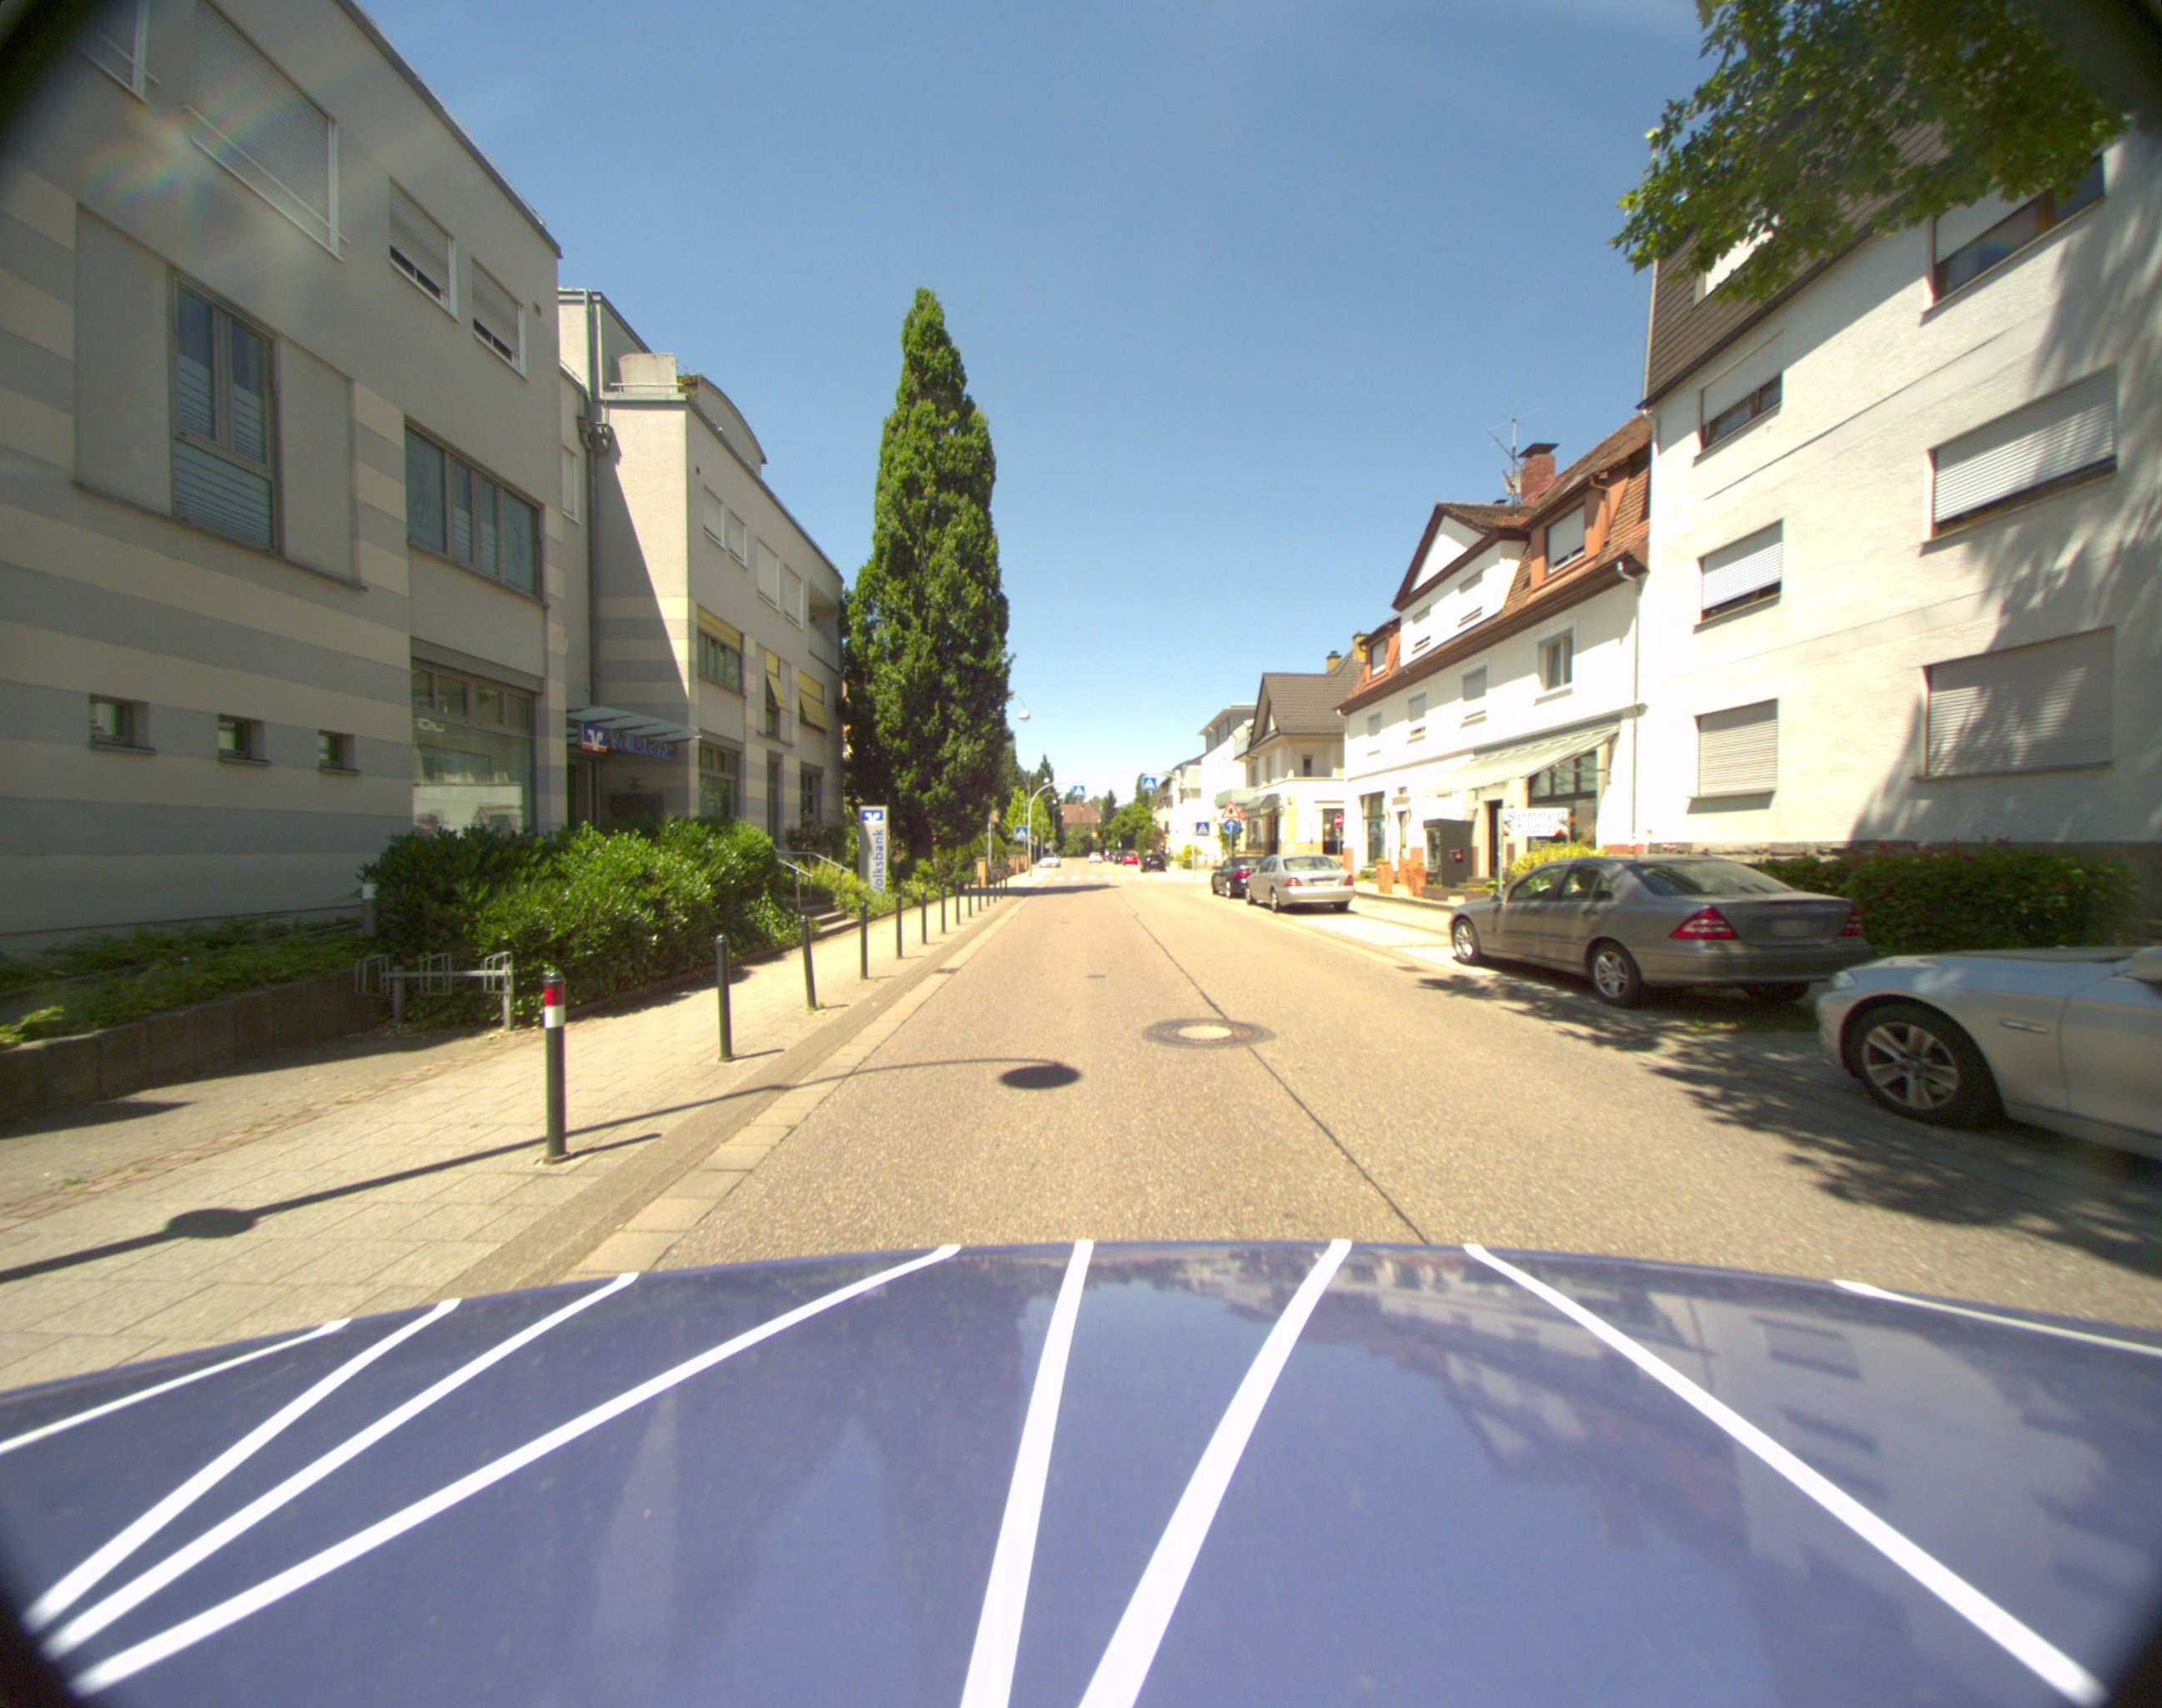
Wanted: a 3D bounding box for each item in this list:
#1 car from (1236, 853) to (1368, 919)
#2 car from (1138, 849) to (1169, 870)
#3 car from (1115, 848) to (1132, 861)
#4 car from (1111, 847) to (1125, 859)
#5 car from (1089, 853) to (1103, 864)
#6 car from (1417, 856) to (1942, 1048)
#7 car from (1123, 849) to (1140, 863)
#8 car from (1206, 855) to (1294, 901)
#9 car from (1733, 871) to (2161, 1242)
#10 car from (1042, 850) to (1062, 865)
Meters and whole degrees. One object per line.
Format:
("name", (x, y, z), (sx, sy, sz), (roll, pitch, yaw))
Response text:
("car", (5.661, 0.739, 20.240), (1.986, 1.444, 5.357), (-1, 0, 1))
("car", (5.696, 0.415, 60.040), (1.921, 1.444, 5.148), (-3, 1, 1))
("car", (5.545, 0.048, 98.858), (1.925, 1.577, 4.435), (-3, 1, 1))
("car", (5.794, -0.155, 118.762), (1.925, 1.681, 4.287), (-3, 1, 2))
("car", (2.185, 0.692, 110.439), (1.812, 1.474, 3.868), (1, 1, -2))
("car", (5.879, 0.789, 8.517), (1.986, 1.444, 4.867), (-1, 0, -1))
("car", (5.787, 0.210, 87.565), (1.737, 1.444, 4.259), (-3, 1, 1))
("car", (5.695, 0.749, 26.310), (1.947, 1.365, 5.097), (-1, 0, 1))
("car", (5.485, 0.875, 2.624), (1.986, 1.444, 5.149), (-1, 0, -1))
("car", (-3.050, 0.376, 80.086), (1.920, 1.460, 4.879), (1, 1, 0))
